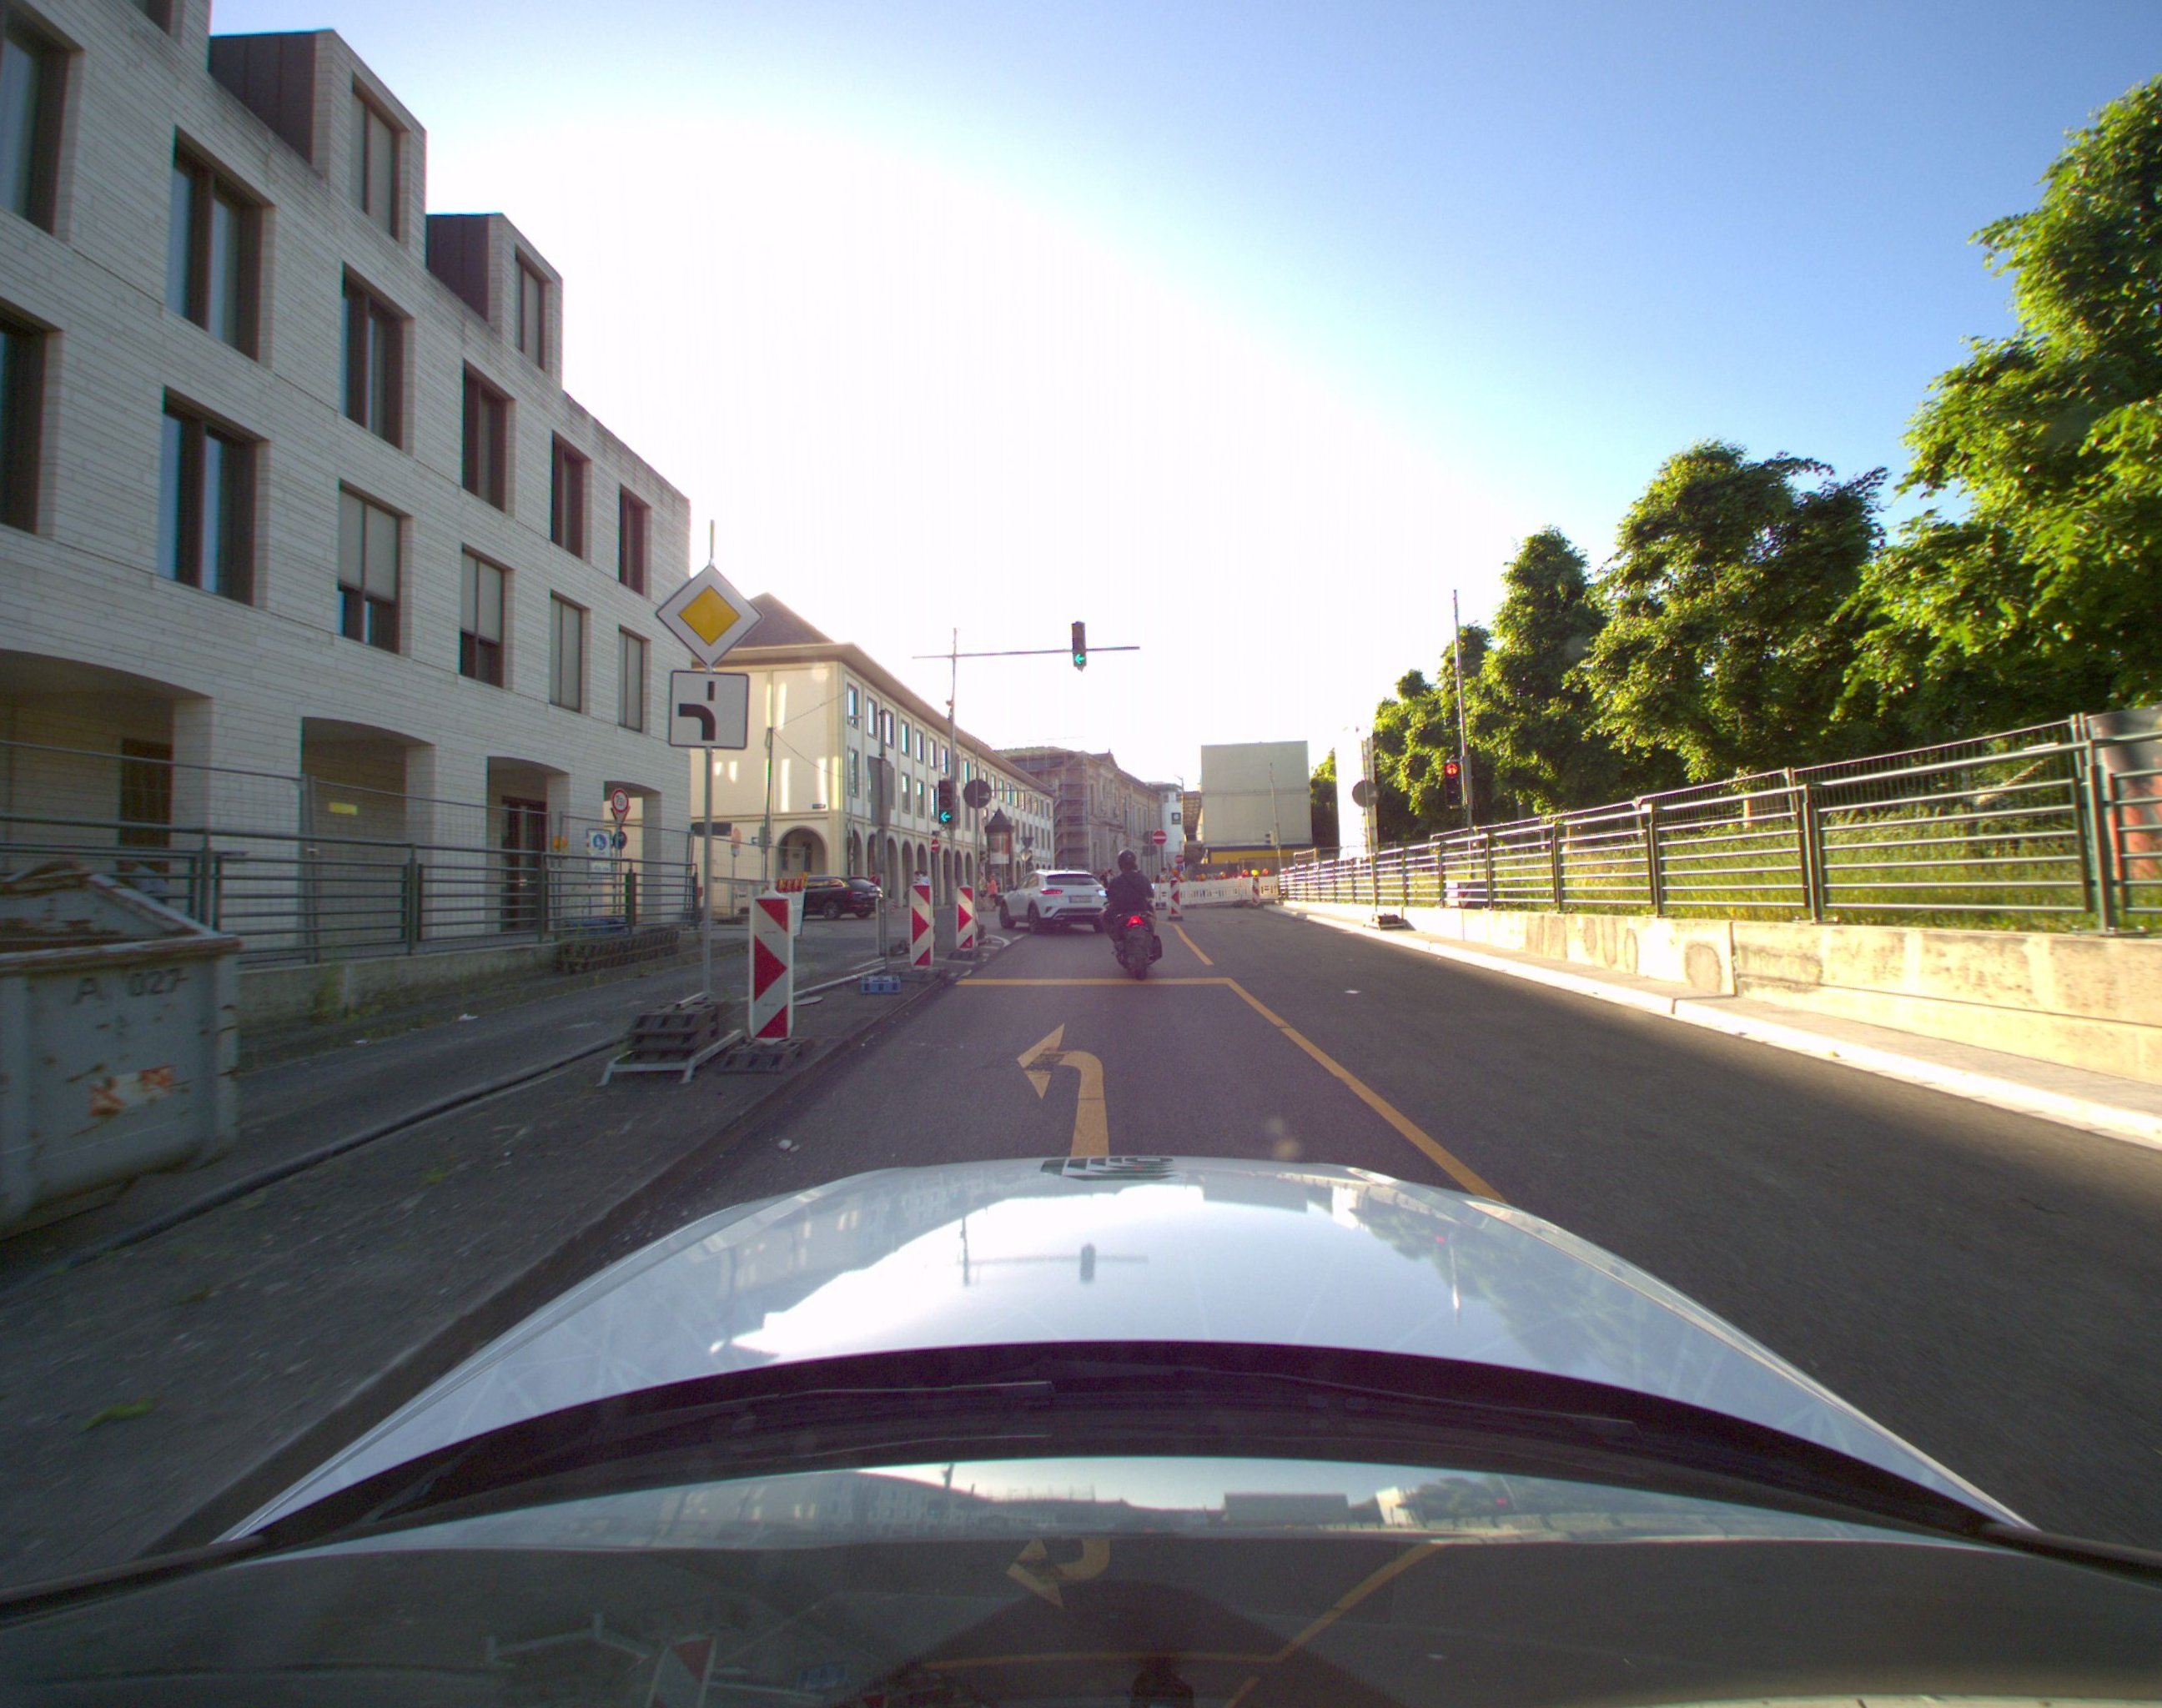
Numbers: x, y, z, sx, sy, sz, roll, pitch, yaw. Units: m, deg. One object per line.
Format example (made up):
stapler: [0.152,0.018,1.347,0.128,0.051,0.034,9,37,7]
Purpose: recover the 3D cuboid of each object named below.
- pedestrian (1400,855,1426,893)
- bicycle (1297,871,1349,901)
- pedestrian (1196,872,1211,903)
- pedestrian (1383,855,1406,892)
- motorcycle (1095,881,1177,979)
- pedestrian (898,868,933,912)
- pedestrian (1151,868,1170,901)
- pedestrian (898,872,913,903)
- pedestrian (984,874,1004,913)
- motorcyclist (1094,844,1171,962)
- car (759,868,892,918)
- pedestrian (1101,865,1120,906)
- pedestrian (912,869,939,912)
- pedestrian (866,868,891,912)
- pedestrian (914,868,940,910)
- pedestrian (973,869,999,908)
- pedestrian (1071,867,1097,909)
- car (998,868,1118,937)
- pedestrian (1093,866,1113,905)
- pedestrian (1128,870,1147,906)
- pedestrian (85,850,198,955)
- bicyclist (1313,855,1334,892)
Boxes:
pedestrian: [14.207,0.860,34.892,0.748,1.566,0.658,-1,-3,-37]
bicycle: [10.105,1.325,34.031,1.982,1.201,0.478,-1,-3,7]
pedestrian: [5.252,1.441,34.993,0.615,1.300,0.494,1,-2,7]
pedestrian: [13.875,0.877,36.078,0.733,1.604,0.645,-3,-2,8]
motorcycle: [0.719,1.008,11.632,0.903,1.183,2.577,-1,-1,-1]
pedestrian: [-6.982,1.526,34.474,1.237,1.802,0.717,-2,0,4]
pedestrian: [3.651,1.409,37.209,0.764,1.462,0.667,-3,-2,8]
pedestrian: [-10.783,2.056,50.007,0.637,1.840,0.729,-1,0,8]
pedestrian: [-3.762,1.706,35.238,0.721,1.624,0.621,-1,0,4]
motorcyclist: [0.698,0.674,11.588,0.951,1.560,1.238,-1,-1,-2]
car: [-8.656,1.318,27.583,4.057,1.550,1.789,-2,-2,22]
pedestrian: [1.348,1.428,37.015,0.733,1.771,0.623,-3,-2,8]
pedestrian: [-6.700,1.581,35.214,0.934,1.777,0.712,-2,0,4]
pedestrian: [-8.611,1.516,34.688,0.769,1.802,0.712,-2,0,4]
pedestrian: [-6.769,1.544,35.804,0.934,1.777,0.712,-2,0,4]
pedestrian: [-4.214,1.525,36.153,0.960,1.710,0.676,-1,0,4]
pedestrian: [0.137,1.461,35.115,0.970,1.729,0.799,-3,-3,4]
car: [-0.686,1.089,20.023,1.865,1.472,3.974,0,-1,-19]
pedestrian: [0.988,1.400,36.227,0.733,1.716,0.623,-3,-2,8]
pedestrian: [2.606,1.558,37.535,0.764,1.619,0.667,-3,-2,8]
pedestrian: [-14.360,0.721,12.469,0.668,1.487,0.799,-4,1,3]
bicyclist: [10.144,0.821,34.042,0.698,1.516,0.687,-1,-3,7]
